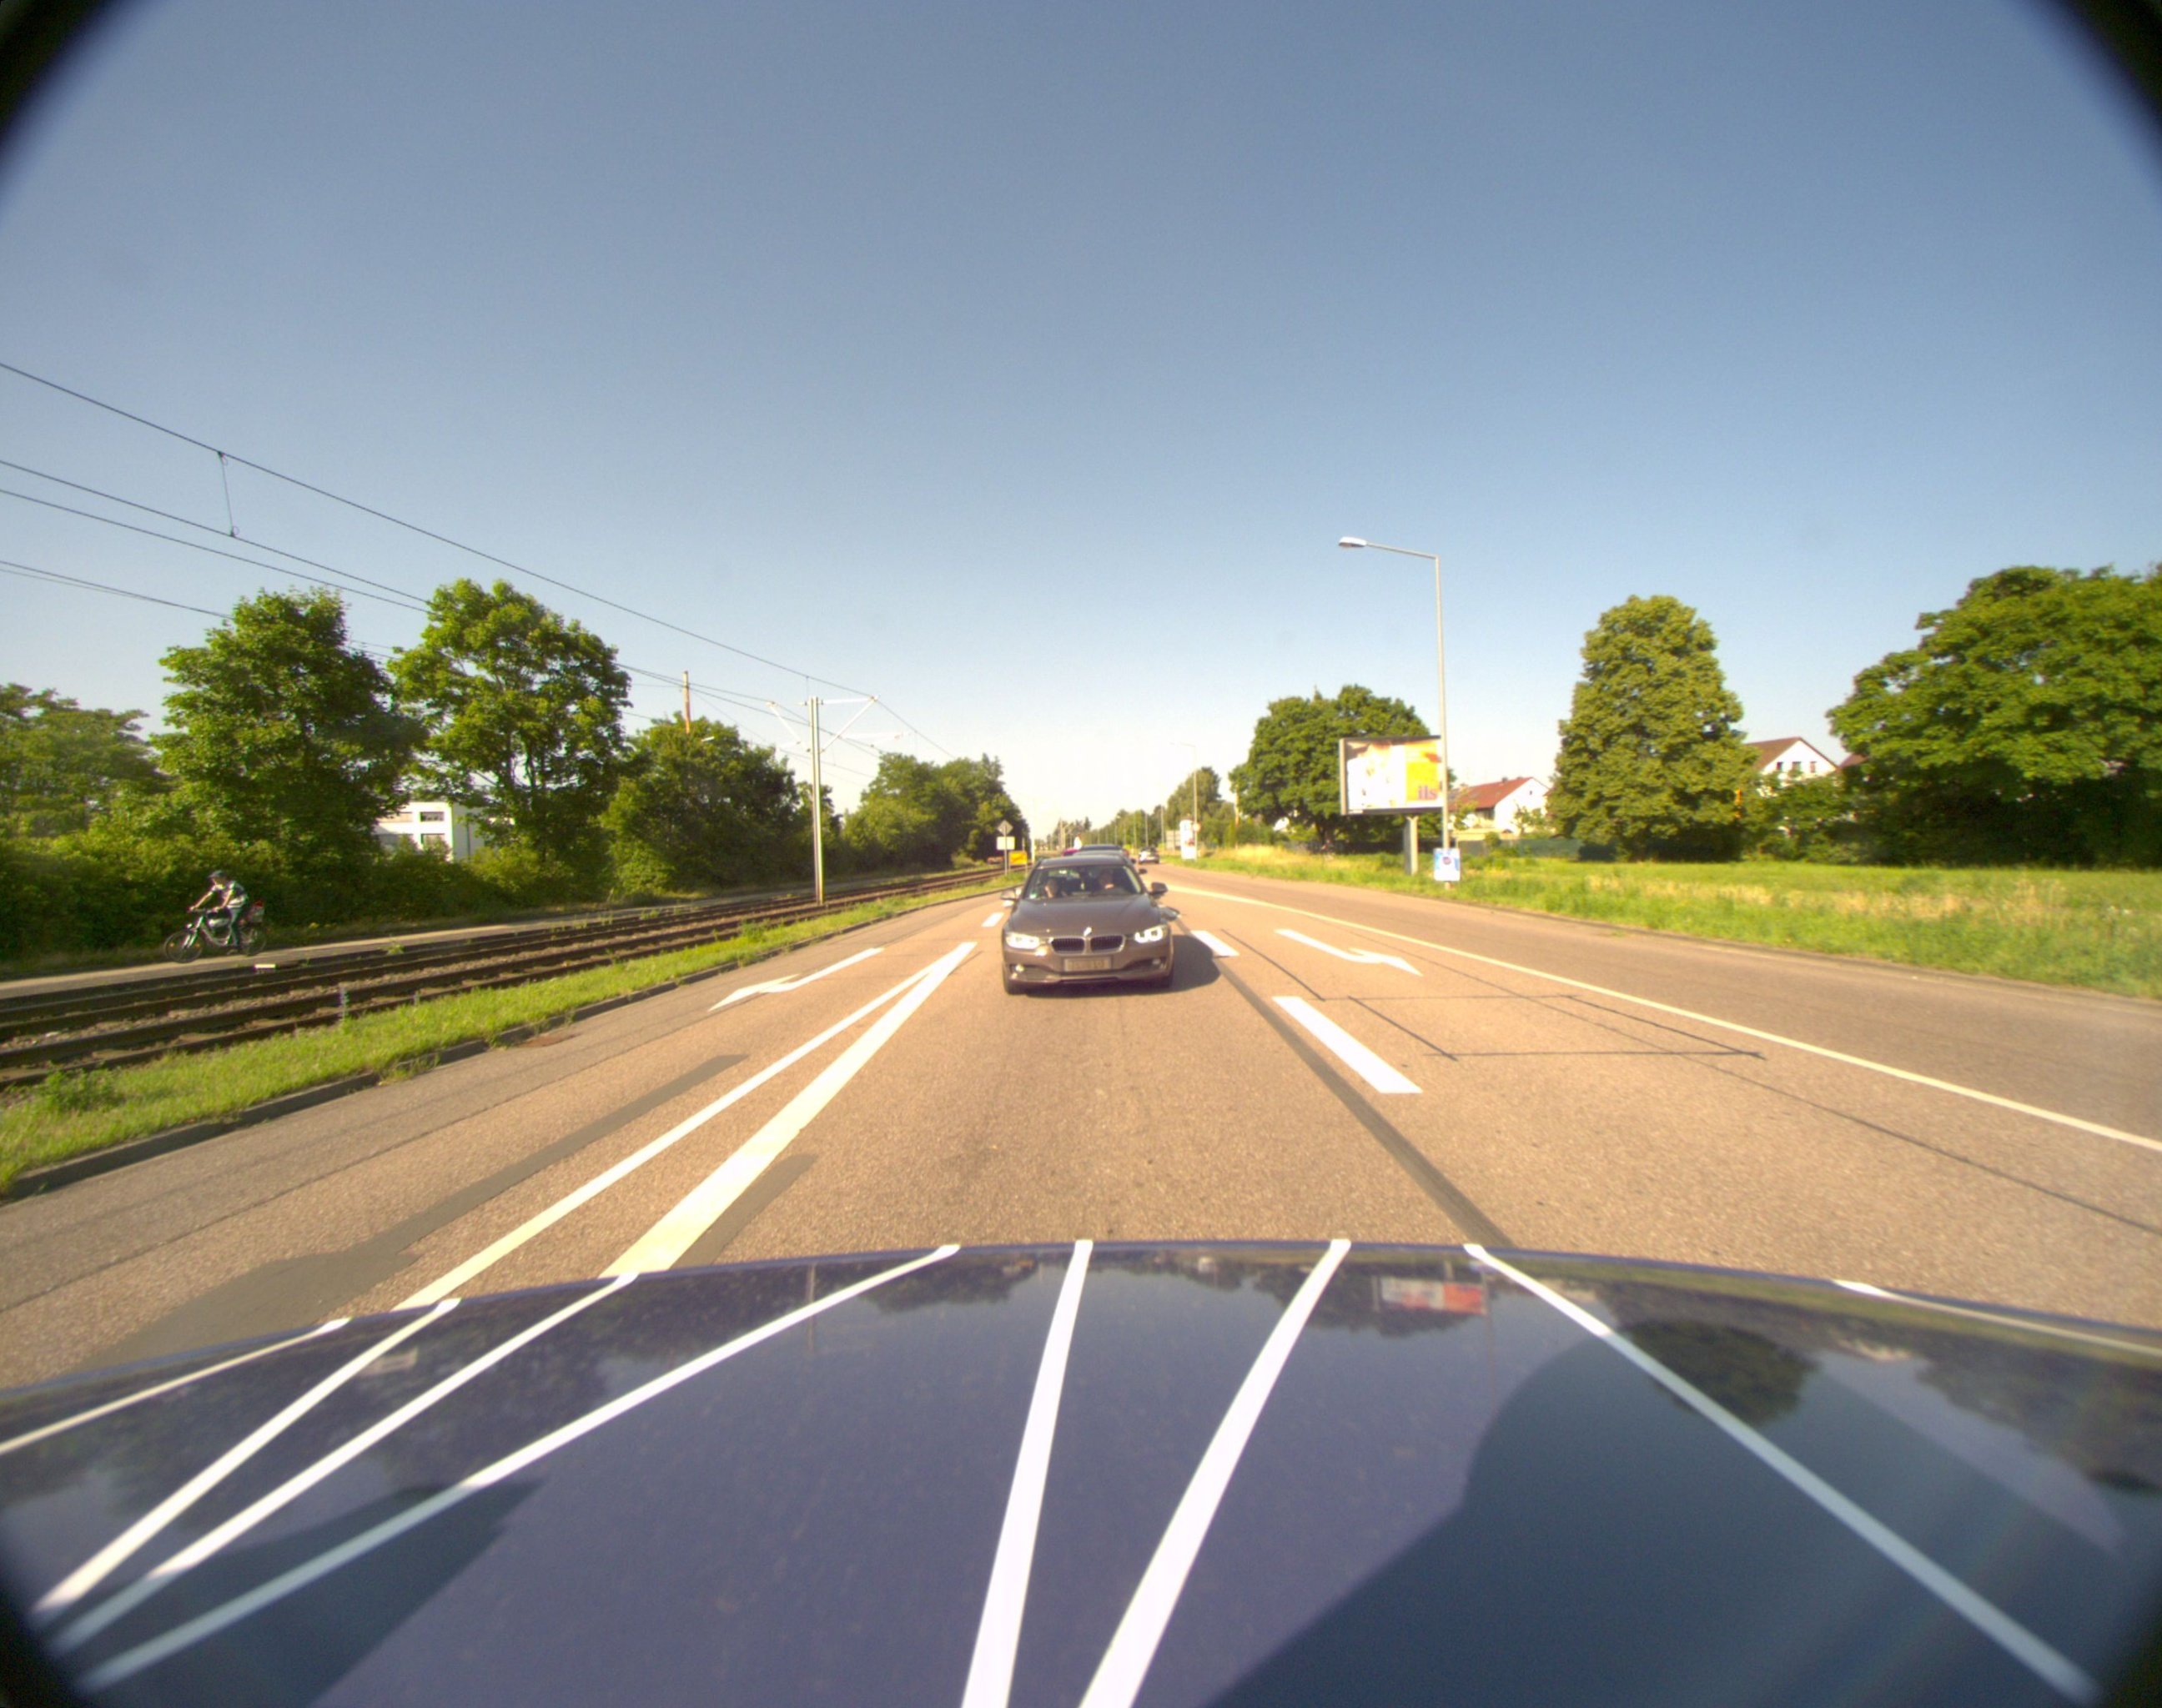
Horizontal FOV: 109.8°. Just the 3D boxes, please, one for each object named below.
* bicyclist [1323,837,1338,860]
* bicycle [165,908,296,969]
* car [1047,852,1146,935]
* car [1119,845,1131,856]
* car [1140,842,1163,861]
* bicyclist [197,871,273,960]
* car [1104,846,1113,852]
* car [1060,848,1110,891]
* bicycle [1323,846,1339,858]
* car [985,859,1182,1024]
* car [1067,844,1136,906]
[{"bbox_3d":[16.073,-0.364,48.997,0.638,1.420,1.071,-2,1,2],"label":"bicyclist"},{"bbox_3d":[-17.850,1.737,16.014,0.546,1.041,1.874,-2,1,3],"label":"bicycle"},{"bbox_3d":[0.333,0.734,16.621,1.821,1.481,4.610,-2,1,1],"label":"car"},{"bbox_3d":[6.091,-0.544,105.402,1.698,1.490,3.676,-1,1,3],"label":"car"},{"bbox_3d":[6.061,-0.209,65.509,1.637,1.551,3.675,-1,1,1],"label":"car"},{"bbox_3d":[-17.869,1.274,16.061,0.707,1.797,0.718,-2,1,3],"label":"bicyclist"},{"bbox_3d":[7.274,-1.236,199.672,1.784,1.469,4.284,-2,1,-3],"label":"car"},{"bbox_3d":[0.184,0.544,29.889,1.807,1.498,4.197,-2,1,1],"label":"car"},{"bbox_3d":[16.113,-0.110,49.087,0.455,0.749,1.834,-2,1,2],"label":"bicycle"},{"bbox_3d":[0.073,0.854,9.494,1.821,1.416,4.461,-3,1,1],"label":"car"},{"bbox_3d":[0.612,0.547,23.331,1.821,1.641,4.610,-3,1,1],"label":"car"}]
